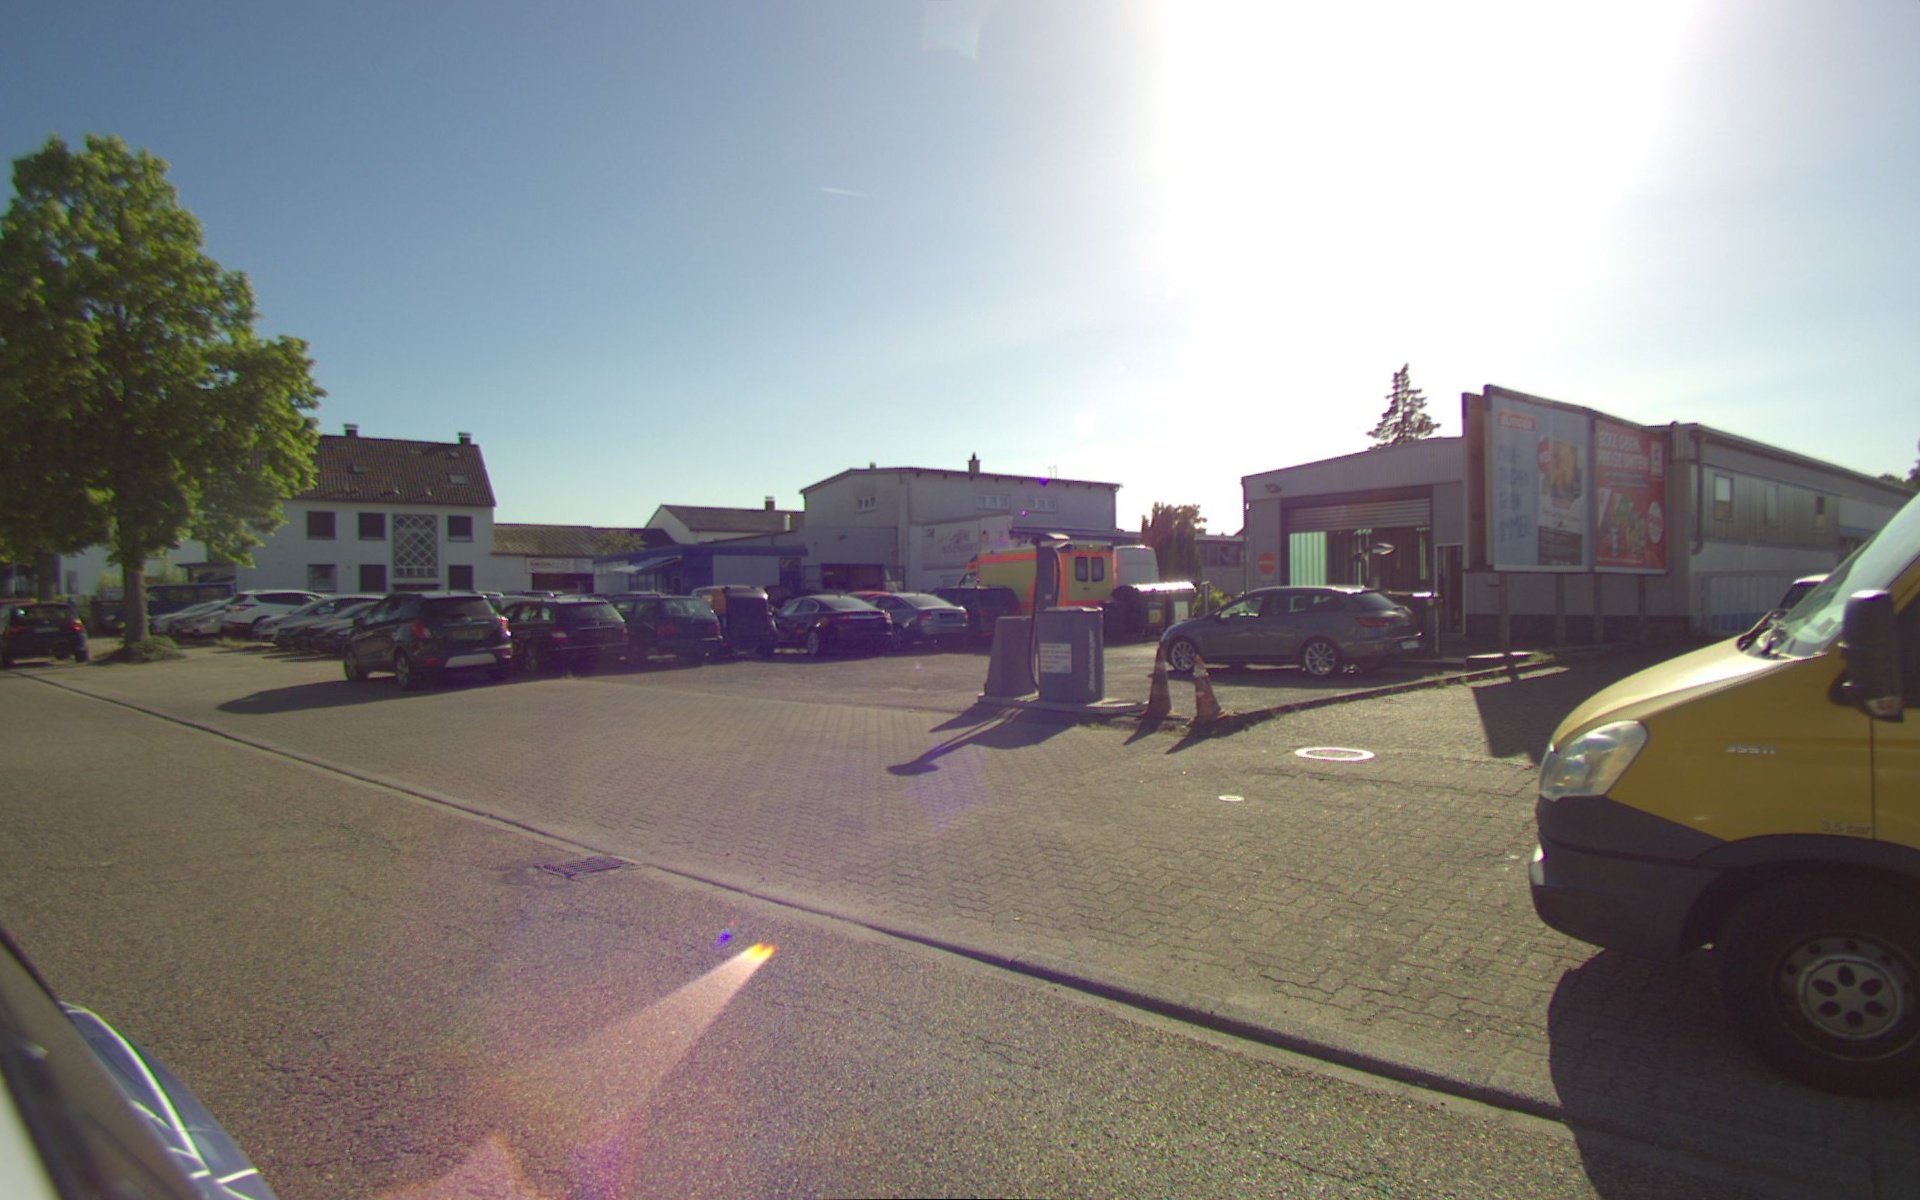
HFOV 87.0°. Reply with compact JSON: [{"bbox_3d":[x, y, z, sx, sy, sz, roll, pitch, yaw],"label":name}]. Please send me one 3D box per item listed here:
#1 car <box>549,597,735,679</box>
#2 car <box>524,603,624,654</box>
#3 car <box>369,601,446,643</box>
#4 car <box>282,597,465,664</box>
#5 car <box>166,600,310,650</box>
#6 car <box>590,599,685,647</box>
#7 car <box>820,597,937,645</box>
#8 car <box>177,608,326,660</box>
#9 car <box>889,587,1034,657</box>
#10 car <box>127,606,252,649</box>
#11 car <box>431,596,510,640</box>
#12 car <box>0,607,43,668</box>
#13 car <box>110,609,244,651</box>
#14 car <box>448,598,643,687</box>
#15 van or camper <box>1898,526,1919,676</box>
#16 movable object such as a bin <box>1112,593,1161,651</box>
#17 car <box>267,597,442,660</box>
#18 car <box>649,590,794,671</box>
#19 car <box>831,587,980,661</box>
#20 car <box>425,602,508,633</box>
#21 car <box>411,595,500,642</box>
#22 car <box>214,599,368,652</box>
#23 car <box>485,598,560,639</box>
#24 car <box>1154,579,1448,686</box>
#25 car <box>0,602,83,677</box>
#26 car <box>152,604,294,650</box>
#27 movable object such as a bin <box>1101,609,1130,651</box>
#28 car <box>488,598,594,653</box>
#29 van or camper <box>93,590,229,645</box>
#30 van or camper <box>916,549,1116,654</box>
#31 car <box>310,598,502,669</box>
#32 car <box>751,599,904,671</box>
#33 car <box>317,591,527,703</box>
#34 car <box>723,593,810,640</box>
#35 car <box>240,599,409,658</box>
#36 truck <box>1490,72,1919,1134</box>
[{"bbox_3d":[-6.935,0.762,21.898,4.273,1.602,1.842,-1,0,40],"label":"car"},{"bbox_3d":[-12.753,0.906,33.285,1.644,1.576,4.003,-1,0,-44],"label":"car"},{"bbox_3d":[-21.472,0.826,39.257,1.644,1.528,4.003,-1,0,-44],"label":"car"},{"bbox_3d":[-16.520,0.805,28.628,4.199,1.742,1.767,0,-1,-44],"label":"car"},{"bbox_3d":[-27.259,0.900,38.315,1.766,1.766,4.202,-1,-1,43],"label":"car"},{"bbox_3d":[-11.366,0.804,35.576,1.644,1.576,3.852,-1,0,-44],"label":"car"},{"bbox_3d":[-2.861,0.714,36.018,3.938,1.564,1.672,-1,0,-42],"label":"car"},{"bbox_3d":[-25.534,1.171,36.569,4.199,1.742,1.767,0,-1,-44],"label":"car"},{"bbox_3d":[-0.027,0.628,27.976,1.754,1.761,4.172,-1,-2,-39],"label":"car"},{"bbox_3d":[-30.963,1.075,40.737,1.547,1.553,3.766,-1,0,40],"label":"car"},{"bbox_3d":[-19.316,0.710,39.847,1.644,1.631,4.003,-1,0,-44],"label":"car"},{"bbox_3d":[-29.698,1.145,31.029,4.339,1.765,1.785,-1,1,41],"label":"car"},{"bbox_3d":[-32.424,1.196,41.976,4.199,1.553,1.767,-1,0,-44],"label":"car"},{"bbox_3d":[-8.417,0.792,20.402,4.273,1.602,1.843,-1,0,40],"label":"car"},{"bbox_3d":[15.023,-0.019,13.101,3.993,2.029,1.843,-1,0,37],"label":"van or camper"},{"bbox_3d":[4.725,0.580,27.101,0.721,1.500,1.048,0,-1,-42],"label":"movable object such as a bin"},{"bbox_3d":[-18.037,0.790,30.272,4.199,1.742,1.767,0,-1,-44],"label":"car"},{"bbox_3d":[-5.791,0.725,24.215,1.754,1.761,4.172,-1,-2,-39],"label":"car"},{"bbox_3d":[-1.498,0.647,26.333,1.754,1.761,4.172,-1,-2,-39],"label":"car"},{"bbox_3d":[-26.544,0.933,54.494,3.756,1.553,1.551,-1,0,-38],"label":"car"},{"bbox_3d":[-17.573,0.645,35.177,1.644,1.528,4.003,-1,0,-44],"label":"car"},{"bbox_3d":[-23.385,0.835,35.474,1.765,1.742,4.205,-1,-1,41],"label":"car"},{"bbox_3d":[-17.961,0.757,41.497,1.644,1.576,3.719,-1,0,-44],"label":"car"},{"bbox_3d":[5.521,0.539,16.831,1.755,1.557,4.302,-1,-2,-41],"label":"car"},{"bbox_3d":[-25.172,1.016,27.216,4.551,1.784,1.657,-1,2,40],"label":"car"},{"bbox_3d":[-28.929,1.037,39.809,1.764,1.597,4.207,-2,0,39],"label":"car"},{"bbox_3d":[4.080,0.773,26.566,0.419,1.083,0.585,0,-1,-42],"label":"movable object such as a bin"},{"bbox_3d":[-12.764,0.749,30.699,1.644,1.528,4.003,-1,0,-44],"label":"car"},{"bbox_3d":[-36.822,0.750,46.805,4.829,2.337,2.248,-1,1,-38],"label":"van or camper"},{"bbox_3d":[1.459,0.061,29.555,2.137,2.736,6.281,-1,0,-39],"label":"van or camper"},{"bbox_3d":[-14.679,0.824,26.964,4.199,1.742,1.767,0,-1,-44],"label":"car"},{"bbox_3d":[-3.304,0.849,24.548,1.754,1.557,4.172,-1,-2,-39],"label":"car"},{"bbox_3d":[-9.902,0.784,18.491,4.273,1.727,1.843,-1,3,40],"label":"car"},{"bbox_3d":[-7.307,0.605,37.992,1.642,1.666,4.009,-1,0,-36],"label":"car"},{"bbox_3d":[-19.971,0.841,31.921,1.765,1.742,4.203,-1,-1,42],"label":"car"},{"bbox_3d":[5.423,-0.049,2.172,7.238,3.005,2.379,-1,1,39],"label":"truck"}]
